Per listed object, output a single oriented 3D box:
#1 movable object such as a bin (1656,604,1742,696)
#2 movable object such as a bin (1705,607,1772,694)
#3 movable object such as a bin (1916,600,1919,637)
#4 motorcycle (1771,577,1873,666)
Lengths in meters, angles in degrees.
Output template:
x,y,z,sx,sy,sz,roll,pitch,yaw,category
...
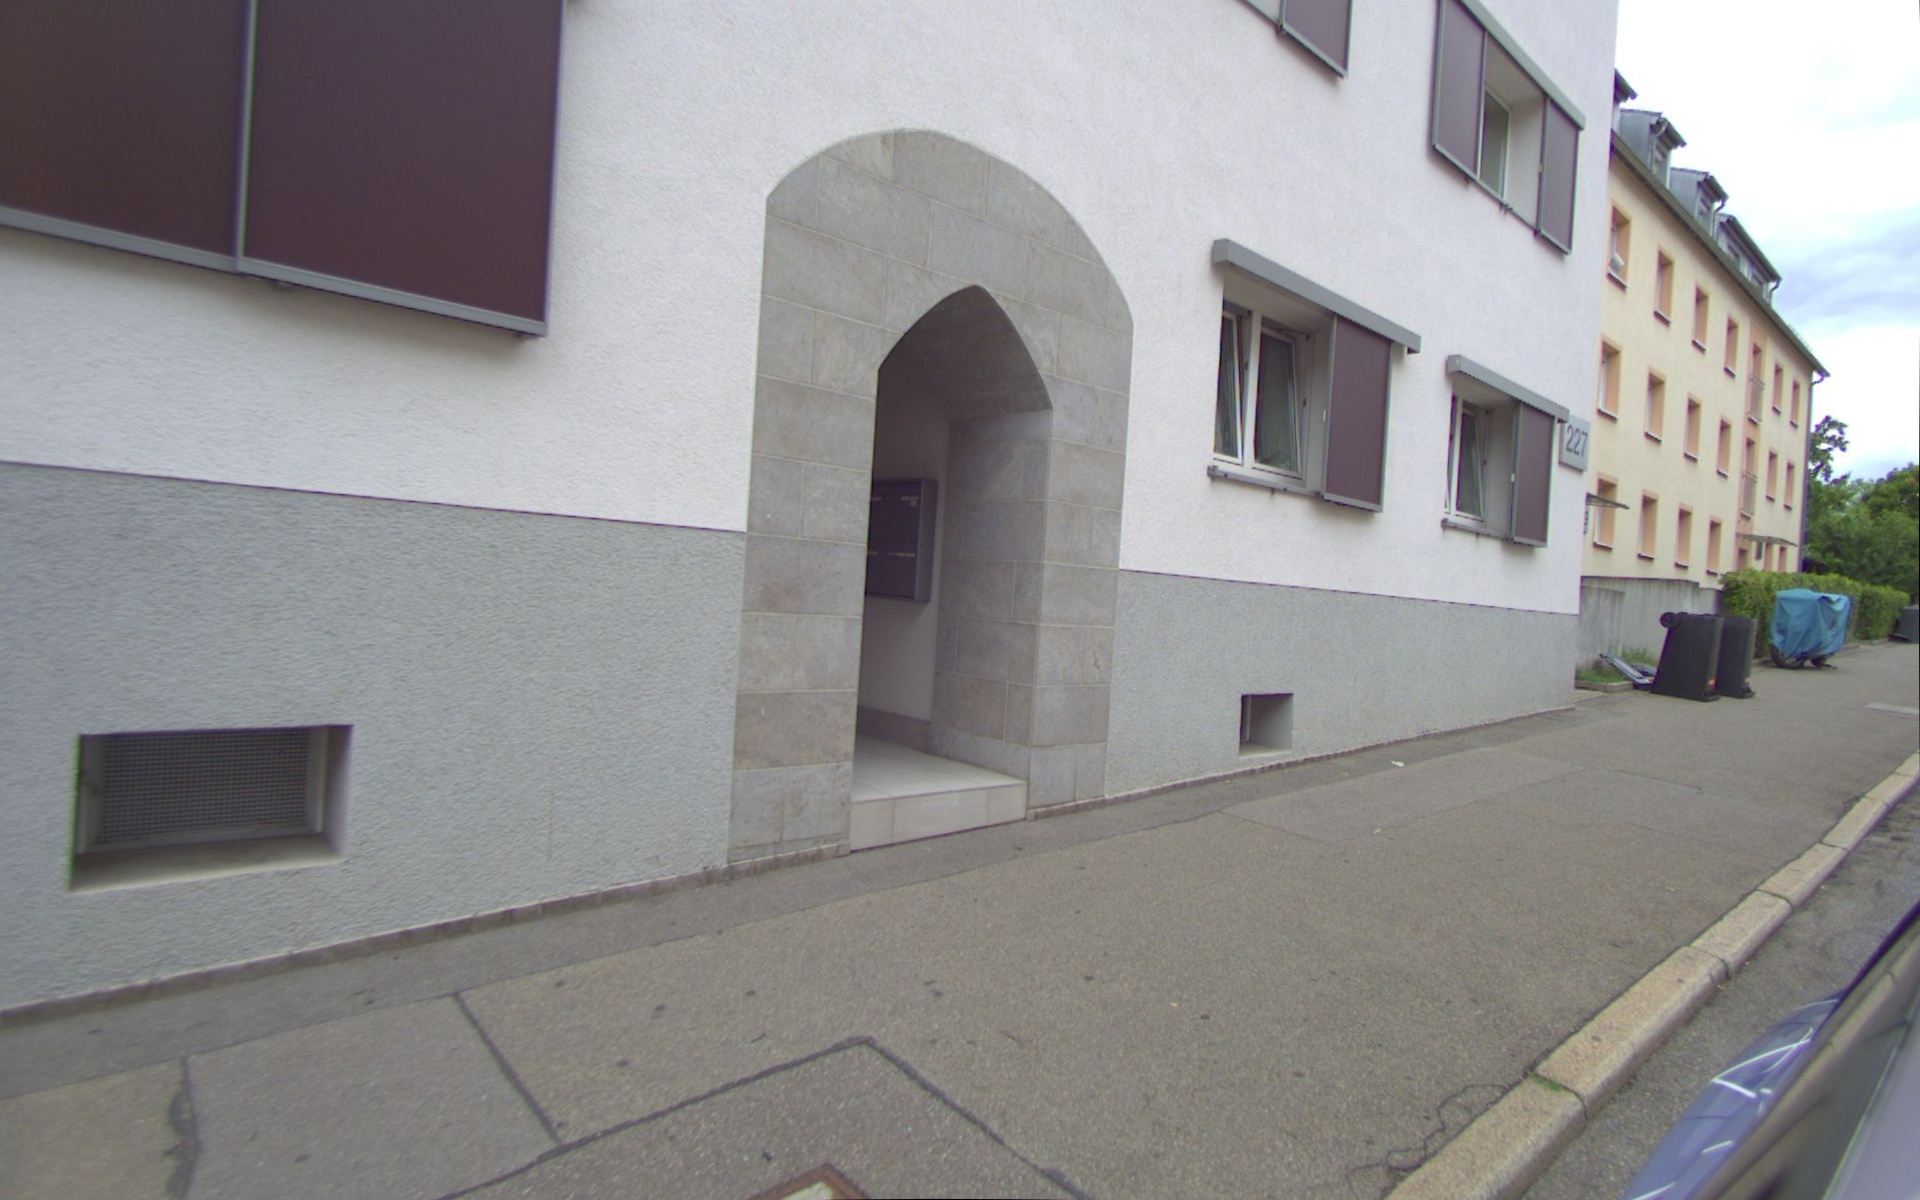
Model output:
x,y,z,sx,sy,sz,roll,pitch,yaw,category
9.004,0.594,12.338,0.592,1.021,0.638,1,5,-40,movable object such as a bin
9.884,0.626,12.853,0.563,1.021,0.491,7,5,41,movable object such as a bin
27.650,0.539,28.739,0.530,1.072,0.669,1,1,-40,movable object such as a bin
14.985,0.371,17.590,1.899,1.406,0.733,1,5,-34,motorcycle
